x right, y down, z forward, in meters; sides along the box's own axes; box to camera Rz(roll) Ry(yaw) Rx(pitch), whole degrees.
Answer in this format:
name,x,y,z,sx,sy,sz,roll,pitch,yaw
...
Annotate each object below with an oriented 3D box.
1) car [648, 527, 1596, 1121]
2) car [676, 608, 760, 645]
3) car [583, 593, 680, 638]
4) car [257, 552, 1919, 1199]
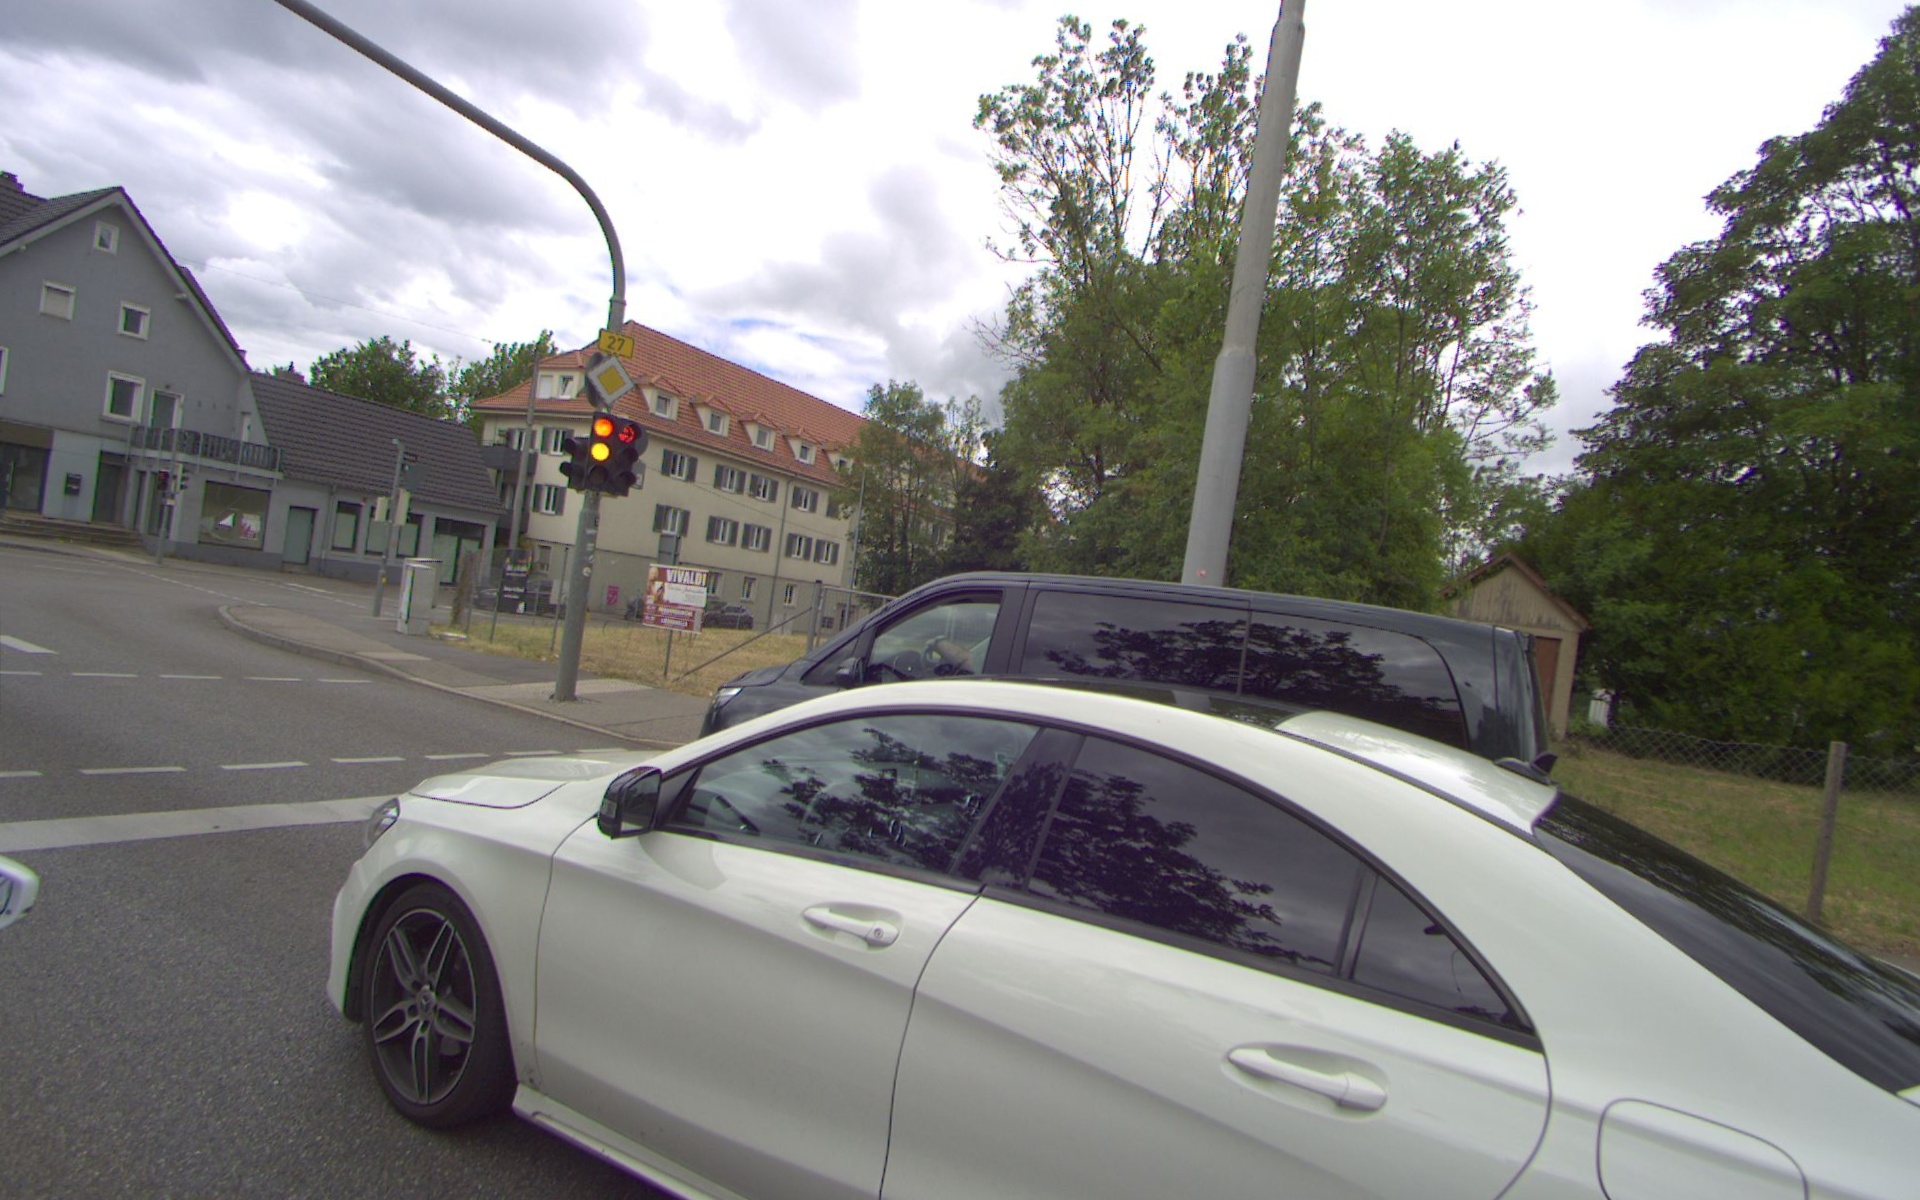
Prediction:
name,x,y,z,sx,sy,sz,roll,pitch,yaw
car,0.705,0.817,5.661,4.631,1.860,1.953,7,-2,32
car,-12.626,1.403,52.656,1.839,1.393,3.996,7,-2,32
car,-15.521,0.741,47.668,1.839,1.554,3.996,7,-2,32
car,0.163,0.849,2.649,4.305,1.451,1.651,7,0,32
